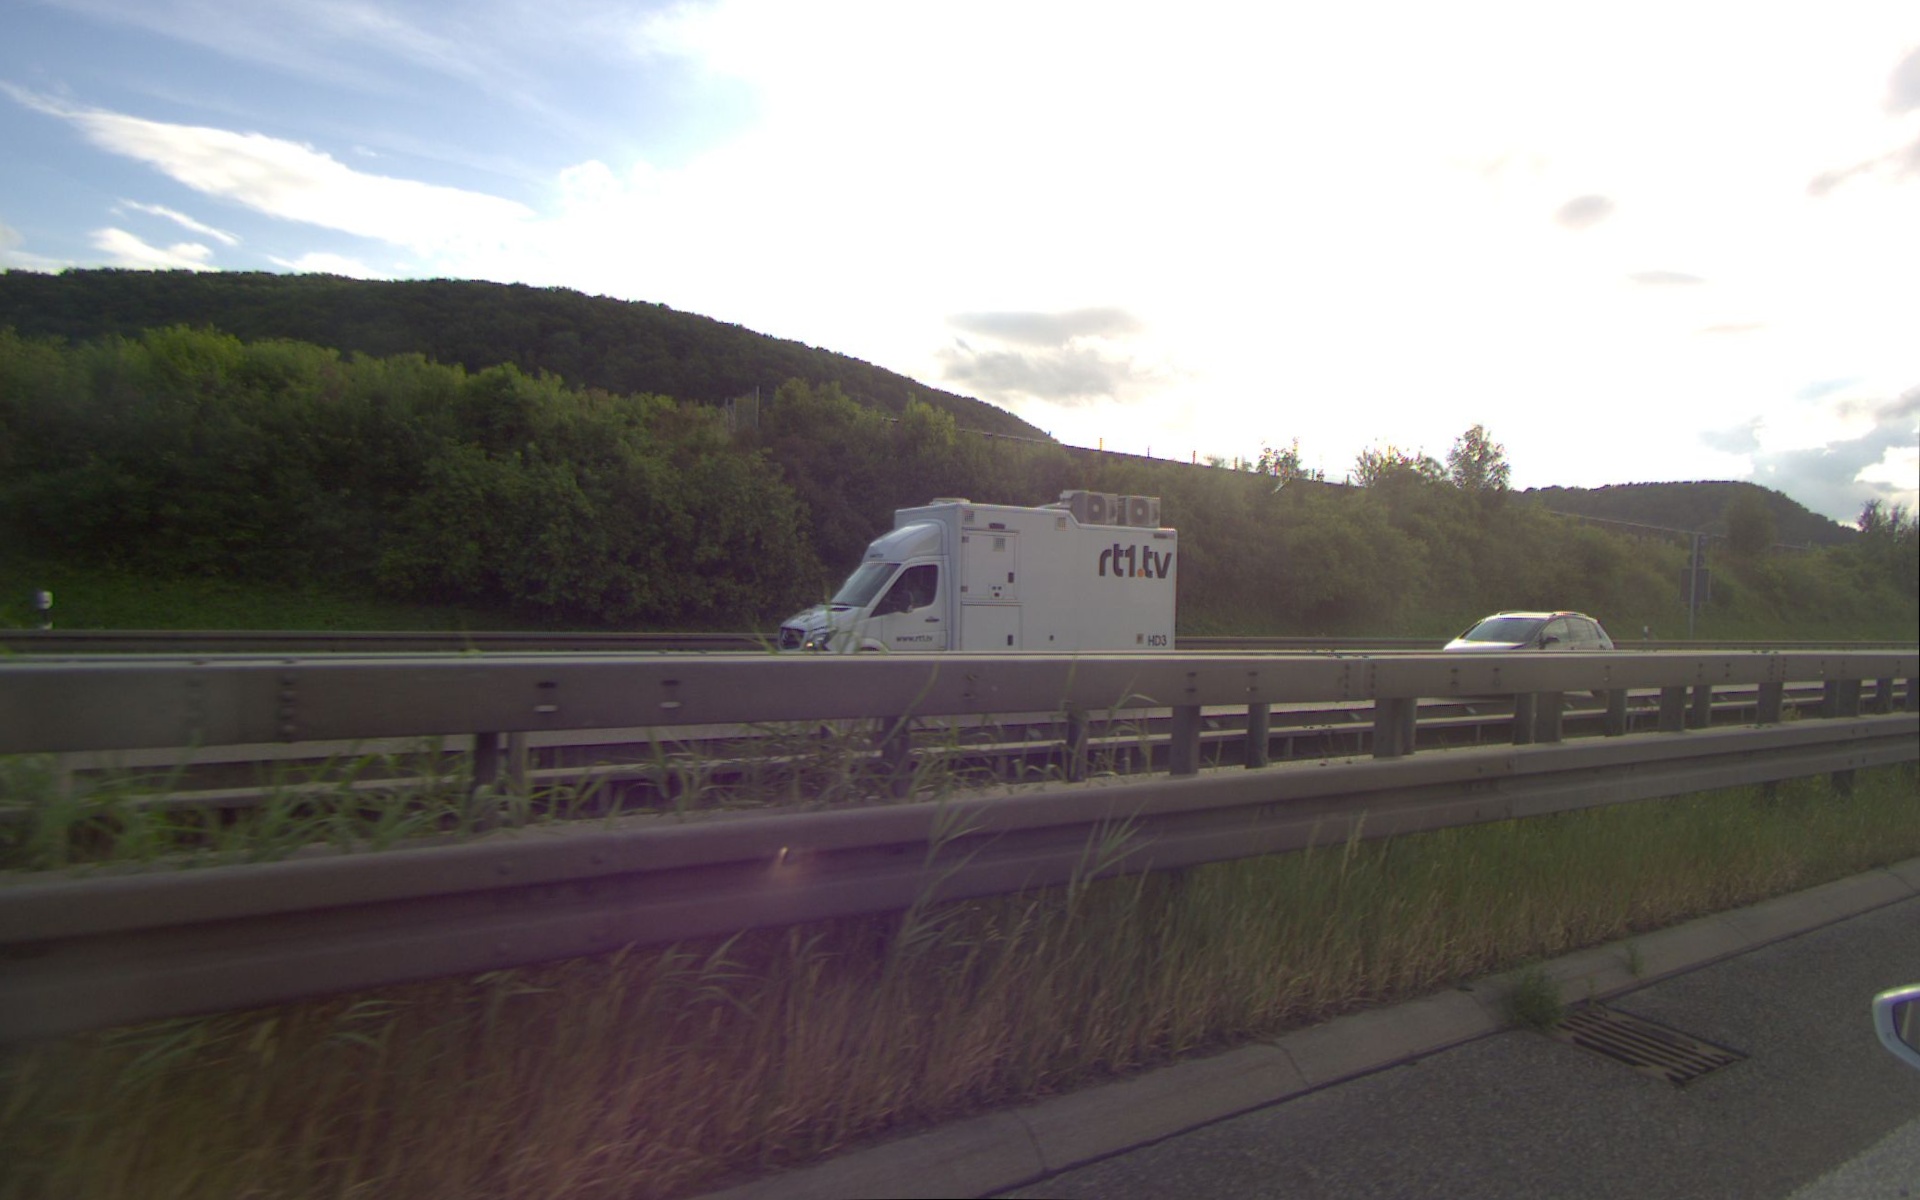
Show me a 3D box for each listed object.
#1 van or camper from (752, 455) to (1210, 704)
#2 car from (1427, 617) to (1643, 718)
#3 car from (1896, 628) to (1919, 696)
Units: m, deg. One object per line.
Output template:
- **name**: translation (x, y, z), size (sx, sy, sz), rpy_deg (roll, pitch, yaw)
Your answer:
- **van or camper**: translation (0.587, -0.208, 17.637), size (7.886, 3.599, 2.469), rpy_deg (2, 0, -31)
- **car**: translation (10.874, 1.213, 18.911), size (4.295, 1.678, 1.635), rpy_deg (2, 0, -31)
- **car**: translation (22.262, 1.368, 21.825), size (3.717, 1.428, 1.772), rpy_deg (2, 0, -29)
